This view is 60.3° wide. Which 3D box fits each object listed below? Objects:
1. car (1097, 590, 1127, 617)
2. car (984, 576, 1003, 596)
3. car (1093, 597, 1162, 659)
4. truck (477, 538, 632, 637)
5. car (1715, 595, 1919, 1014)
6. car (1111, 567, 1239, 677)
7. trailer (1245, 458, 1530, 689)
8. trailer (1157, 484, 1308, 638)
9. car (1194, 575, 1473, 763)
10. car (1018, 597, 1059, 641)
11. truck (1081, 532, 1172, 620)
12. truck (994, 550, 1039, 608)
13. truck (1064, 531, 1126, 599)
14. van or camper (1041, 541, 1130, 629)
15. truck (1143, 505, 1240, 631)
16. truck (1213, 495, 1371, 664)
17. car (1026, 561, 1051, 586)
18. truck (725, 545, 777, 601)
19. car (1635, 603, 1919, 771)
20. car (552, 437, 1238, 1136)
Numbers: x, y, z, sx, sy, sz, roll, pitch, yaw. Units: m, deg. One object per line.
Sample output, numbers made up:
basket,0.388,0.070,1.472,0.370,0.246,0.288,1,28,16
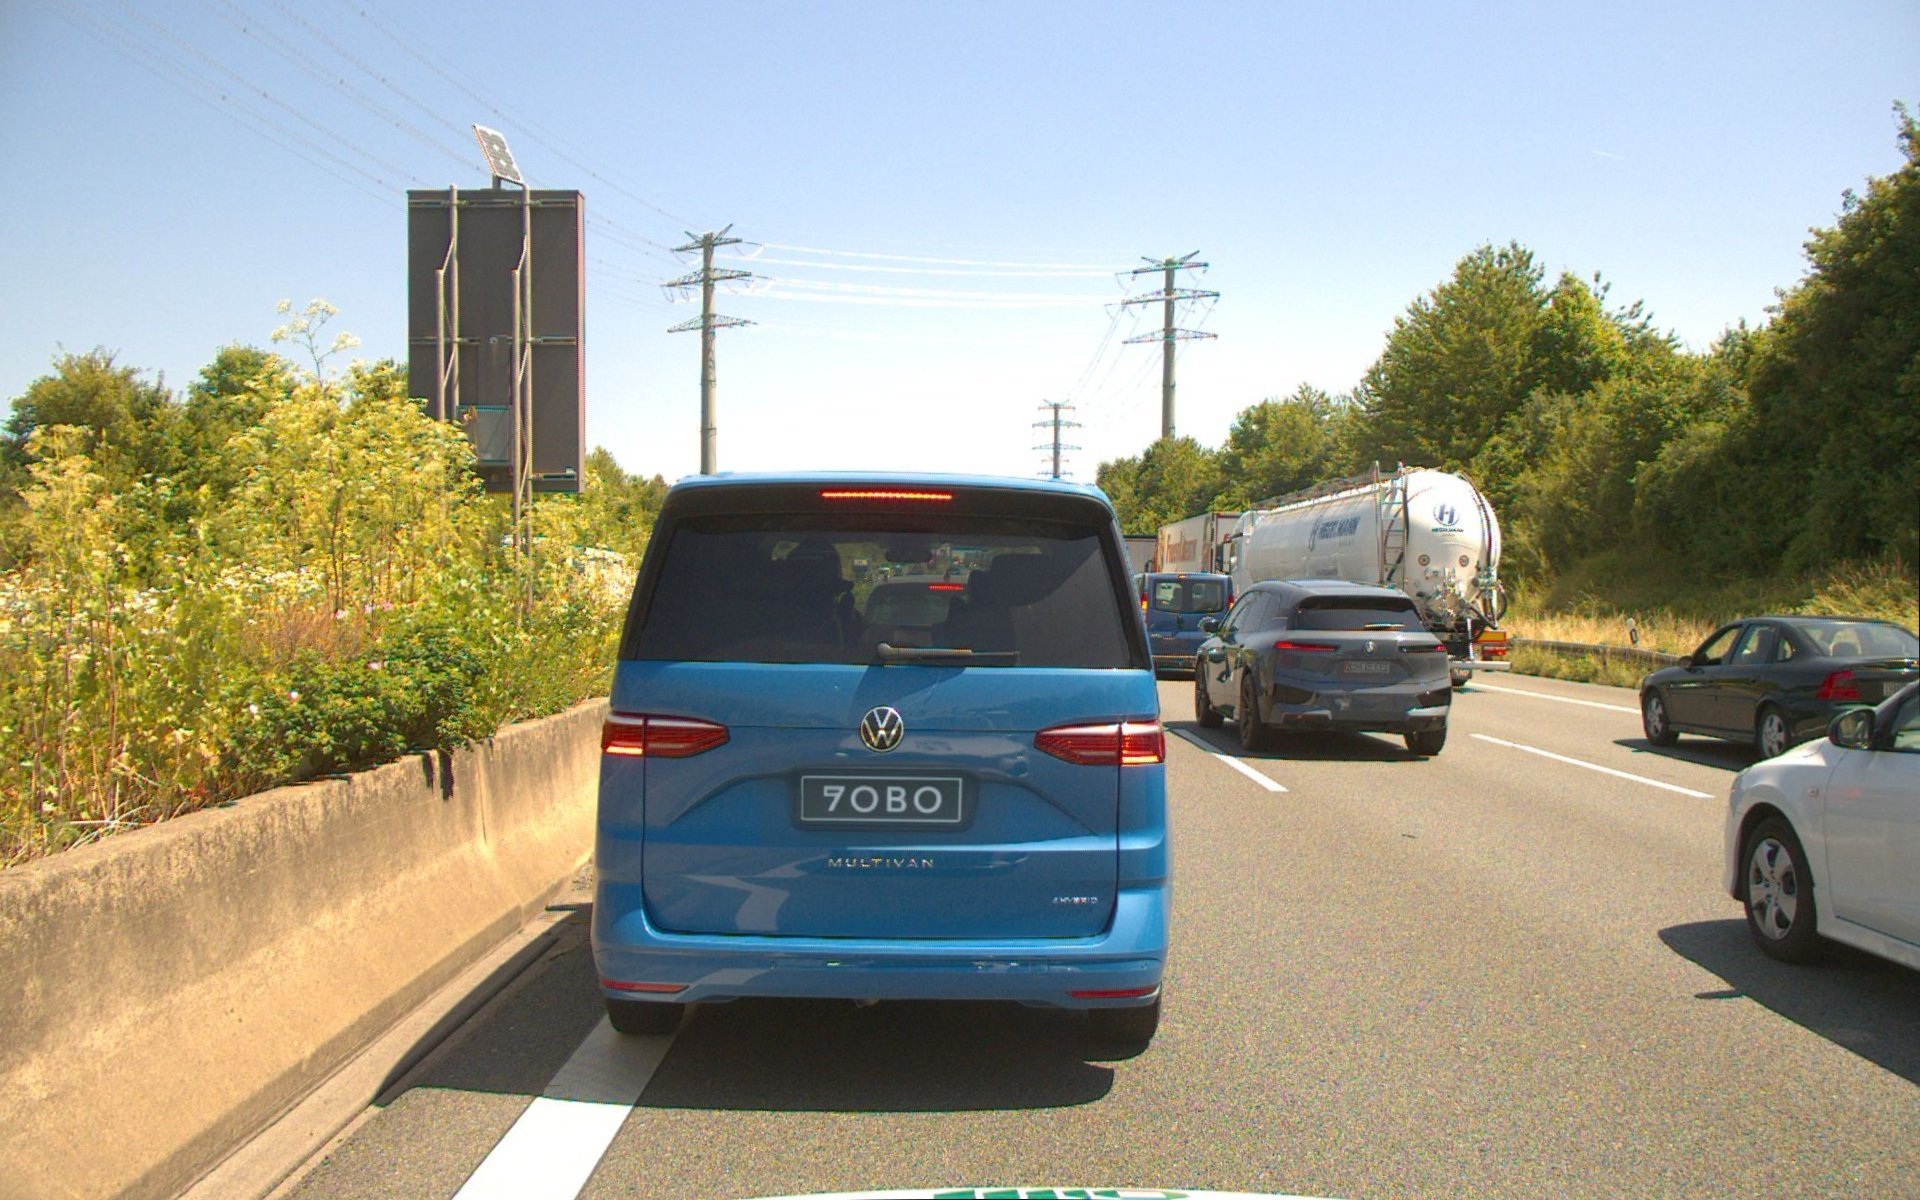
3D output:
car,11.803,0.268,128.731,1.953,2.049,3.999,0,0,-1
car,3.640,-1.558,181.636,1.953,2.163,3.999,0,0,-1
car,4.173,0.687,41.493,1.332,1.445,3.884,-1,-1,0
truck,-14.845,-0.427,61.703,2.708,3.346,11.820,0,0,1
car,4.344,0.731,5.615,1.779,1.511,4.000,0,-1,1
car,4.087,0.420,32.061,1.884,1.959,4.235,-1,-1,0
trailer,8.244,-0.465,33.824,2.705,3.912,11.484,0,0,-1
trailer,8.790,-1.162,55.044,2.853,4.547,12.152,0,0,-1
car,3.816,0.667,17.765,1.958,1.745,4.625,0,-1,0
car,3.682,0.909,78.497,1.798,2.033,4.000,-1,-1,1
truck,7.855,-1.033,80.321,2.944,3.832,15.712,0,0,0
truck,3.822,-1.363,114.491,2.836,3.832,10.140,0,0,0
truck,8.287,-2.034,102.854,2.836,3.832,13.344,0,0,0
van or camper,4.561,-0.506,61.273,2.896,3.075,7.103,0,0,1
truck,8.669,-1.150,62.440,2.853,4.547,5.141,0,0,-1
truck,8.112,-0.474,41.120,2.736,3.903,5.571,0,0,-1
car,6.699,-2.219,141.533,1.953,2.049,4.000,0,0,0
truck,-14.573,-1.850,115.598,3.009,3.774,5.462,0,0,-1
car,8.290,0.770,16.345,1.607,1.441,3.988,-1,-1,0
car,-0.189,0.513,6.647,1.881,1.919,4.000,1,0,0
